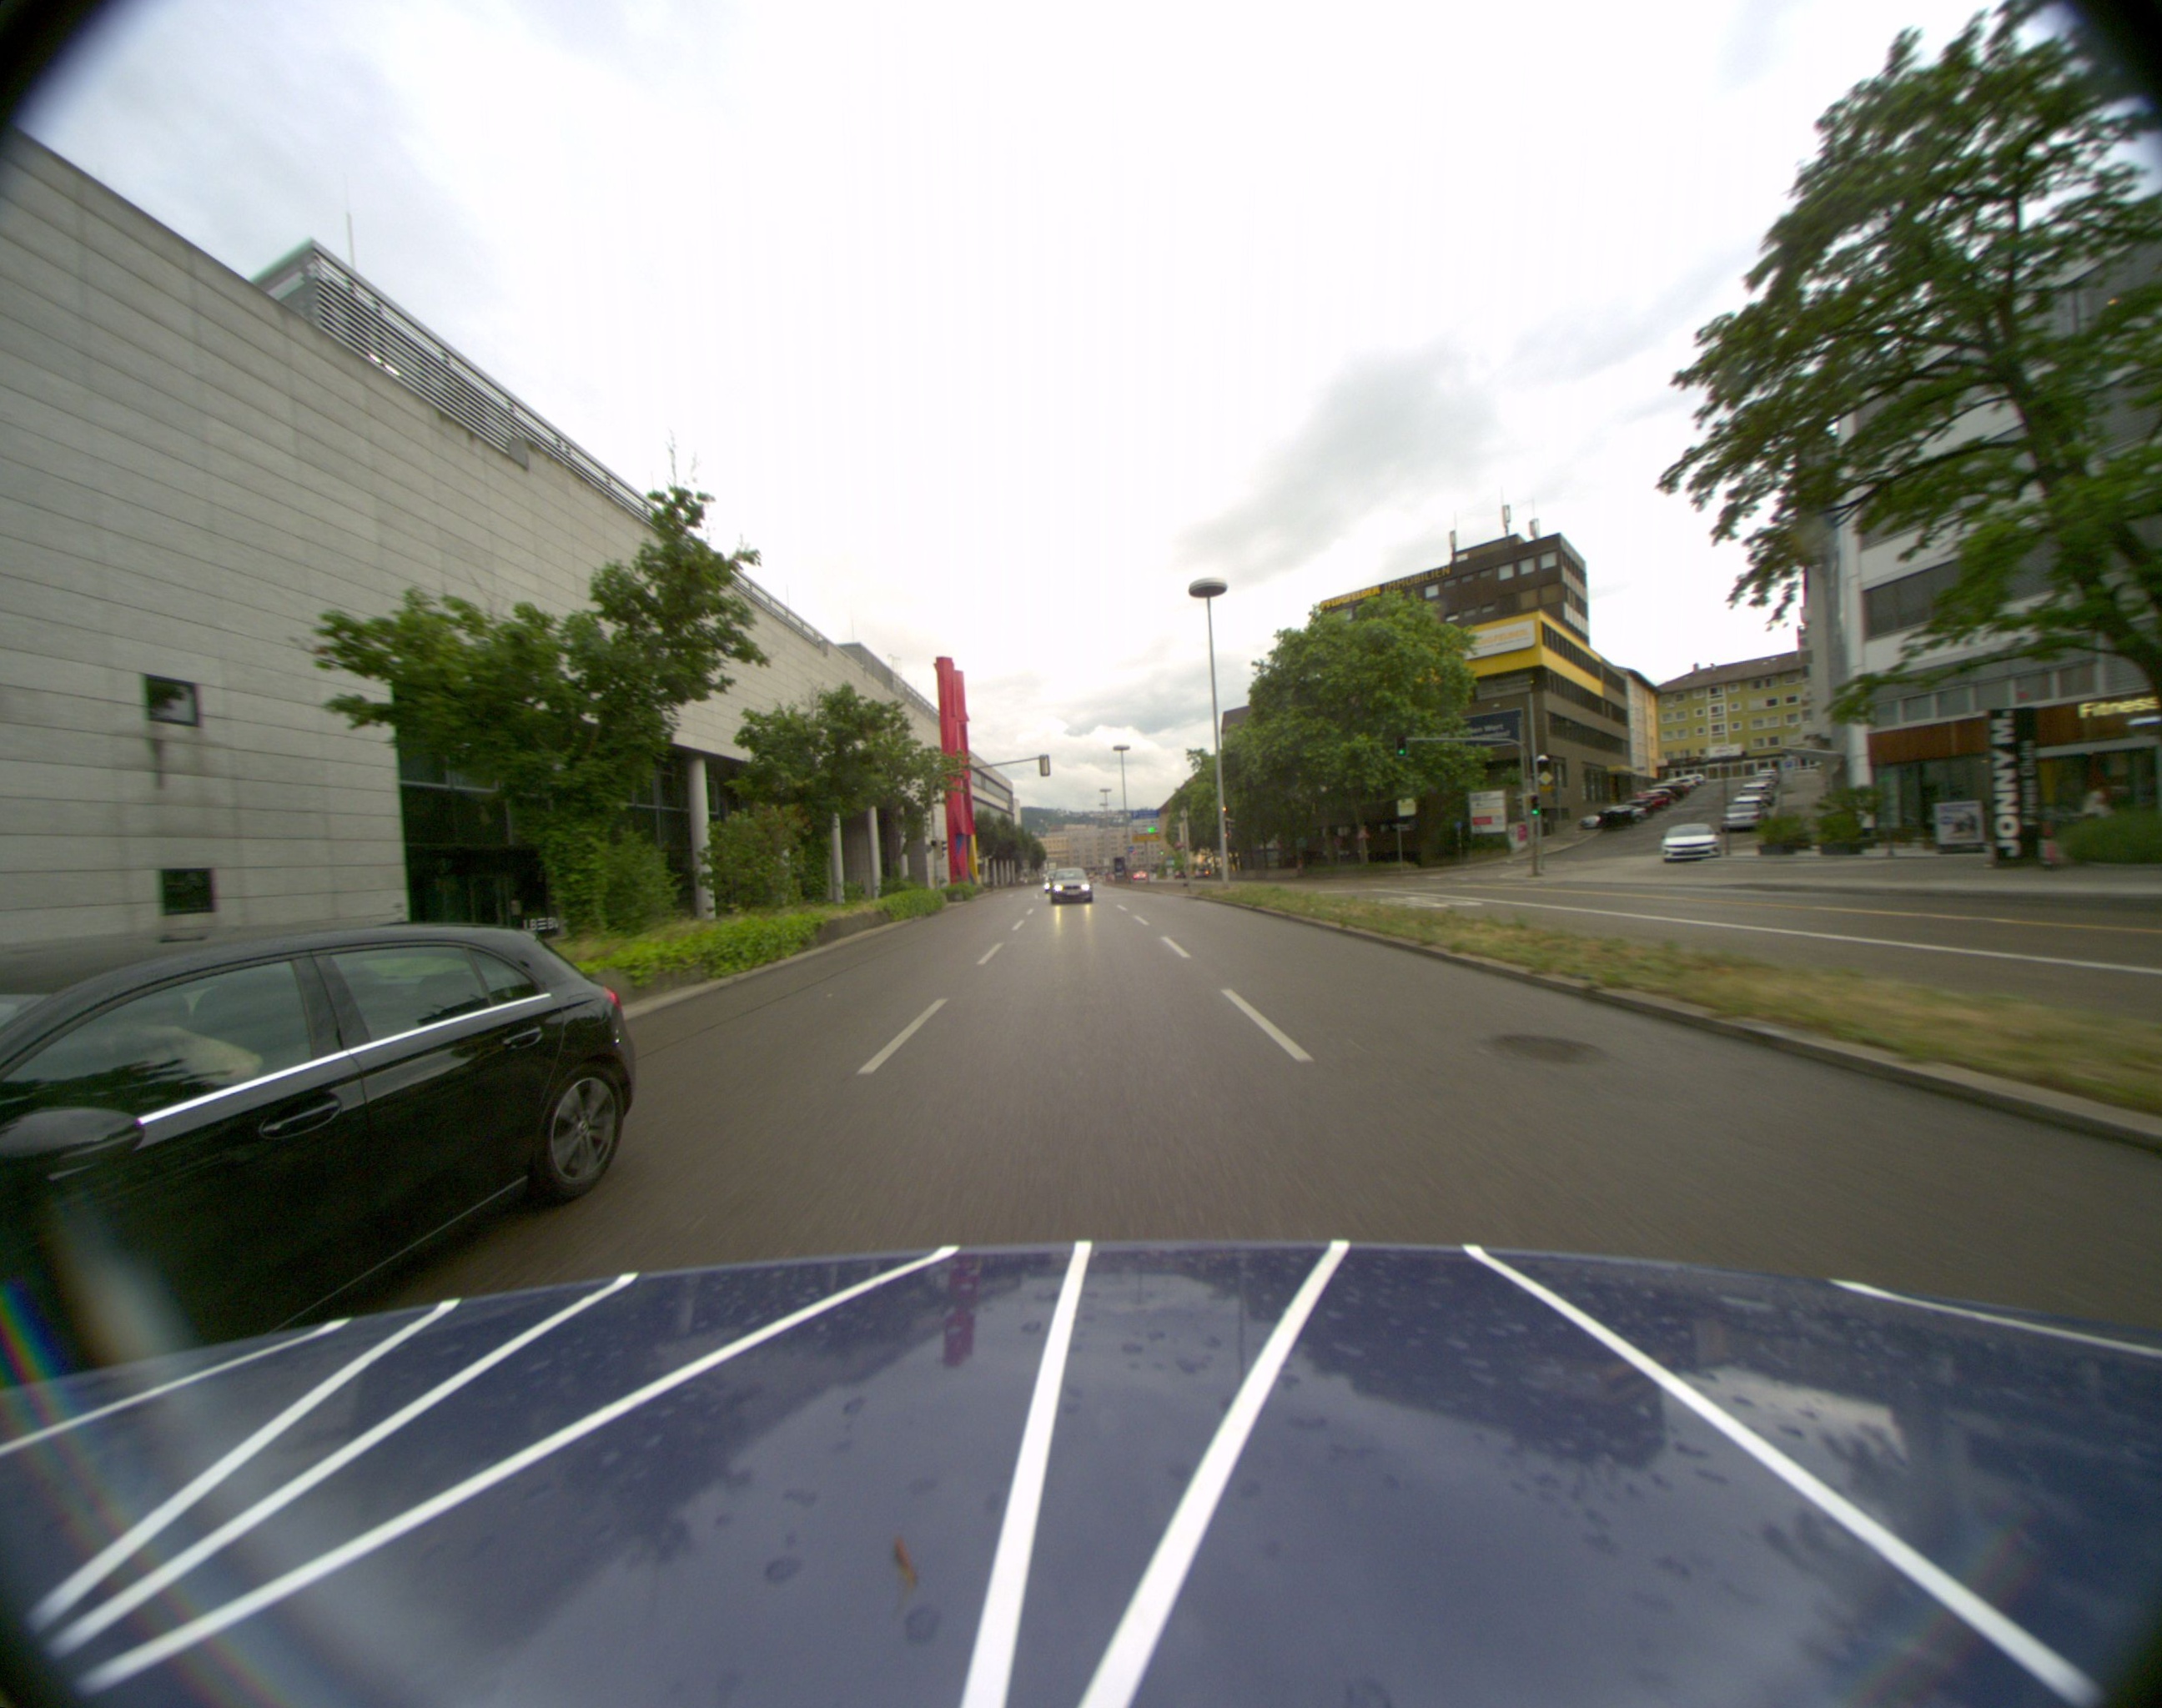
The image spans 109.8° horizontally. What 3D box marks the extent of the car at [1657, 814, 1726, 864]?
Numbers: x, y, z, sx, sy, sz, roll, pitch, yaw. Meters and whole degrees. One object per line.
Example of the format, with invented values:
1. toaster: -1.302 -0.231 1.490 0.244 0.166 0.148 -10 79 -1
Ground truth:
1. car: 25.408 -0.671 31.586 1.995 1.644 4.851 -5 1 40

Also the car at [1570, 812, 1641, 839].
1. car: 38.786 -2.091 56.206 3.990 1.674 1.824 -4 0 44

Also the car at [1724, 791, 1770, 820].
1. car: 42.346 -3.105 48.289 1.995 1.566 4.495 -5 1 42

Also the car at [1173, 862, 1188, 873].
1. car: 15.520 2.117 118.722 1.758 1.510 4.170 -2 -1 -2

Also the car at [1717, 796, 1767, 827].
1. car: 38.453 -2.473 44.156 1.995 1.457 4.495 -5 1 42

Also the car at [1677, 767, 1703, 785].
1. car: 66.283 -8.512 82.675 1.815 1.675 4.005 -3 4 44

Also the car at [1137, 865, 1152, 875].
1. car: 10.685 2.681 128.655 1.759 1.509 3.740 -2 -2 -6

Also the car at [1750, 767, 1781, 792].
1. car: 65.994 -7.195 73.261 1.995 2.003 4.005 -3 4 44

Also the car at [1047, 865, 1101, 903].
1. car: -0.221 1.217 32.072 1.862 1.428 4.207 -3 -1 5

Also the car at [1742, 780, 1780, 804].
1. car: 52.191 -4.762 58.304 1.995 1.566 4.495 -5 1 42

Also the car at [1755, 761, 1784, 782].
1. car: 70.170 -8.407 77.373 1.995 1.806 4.005 -3 4 44

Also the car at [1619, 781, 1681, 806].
1. car: 49.086 -5.177 65.567 3.989 1.675 1.823 -3 4 44

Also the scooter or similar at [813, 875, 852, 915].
1. scooter or similar: -10.122 1.654 31.007 1.326 1.521 0.503 -4 -1 3

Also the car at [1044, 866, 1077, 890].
1. car: -1.293 1.520 49.219 1.863 1.449 4.207 -1 -1 2

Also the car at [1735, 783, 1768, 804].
1. car: 58.493 -5.287 66.222 1.995 1.566 4.495 -5 1 42

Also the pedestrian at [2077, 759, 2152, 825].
1. pedestrian: 27.295 -1.628 20.085 0.770 1.631 0.842 -2 -1 1

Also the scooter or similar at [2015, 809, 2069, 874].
1. scooter or similar: 20.994 -0.279 16.590 1.757 1.240 0.369 -7 1 -28

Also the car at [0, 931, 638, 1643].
1. car: -3.402 1.118 2.018 1.877 1.428 4.206 -3 -2 1

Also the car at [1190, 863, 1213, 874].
1. car: 16.559 1.995 104.932 1.999 1.438 4.880 -2 -1 -4

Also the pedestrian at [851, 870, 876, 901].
1. pedestrian: -11.186 1.616 39.067 0.972 1.577 0.842 -2 -1 -2
